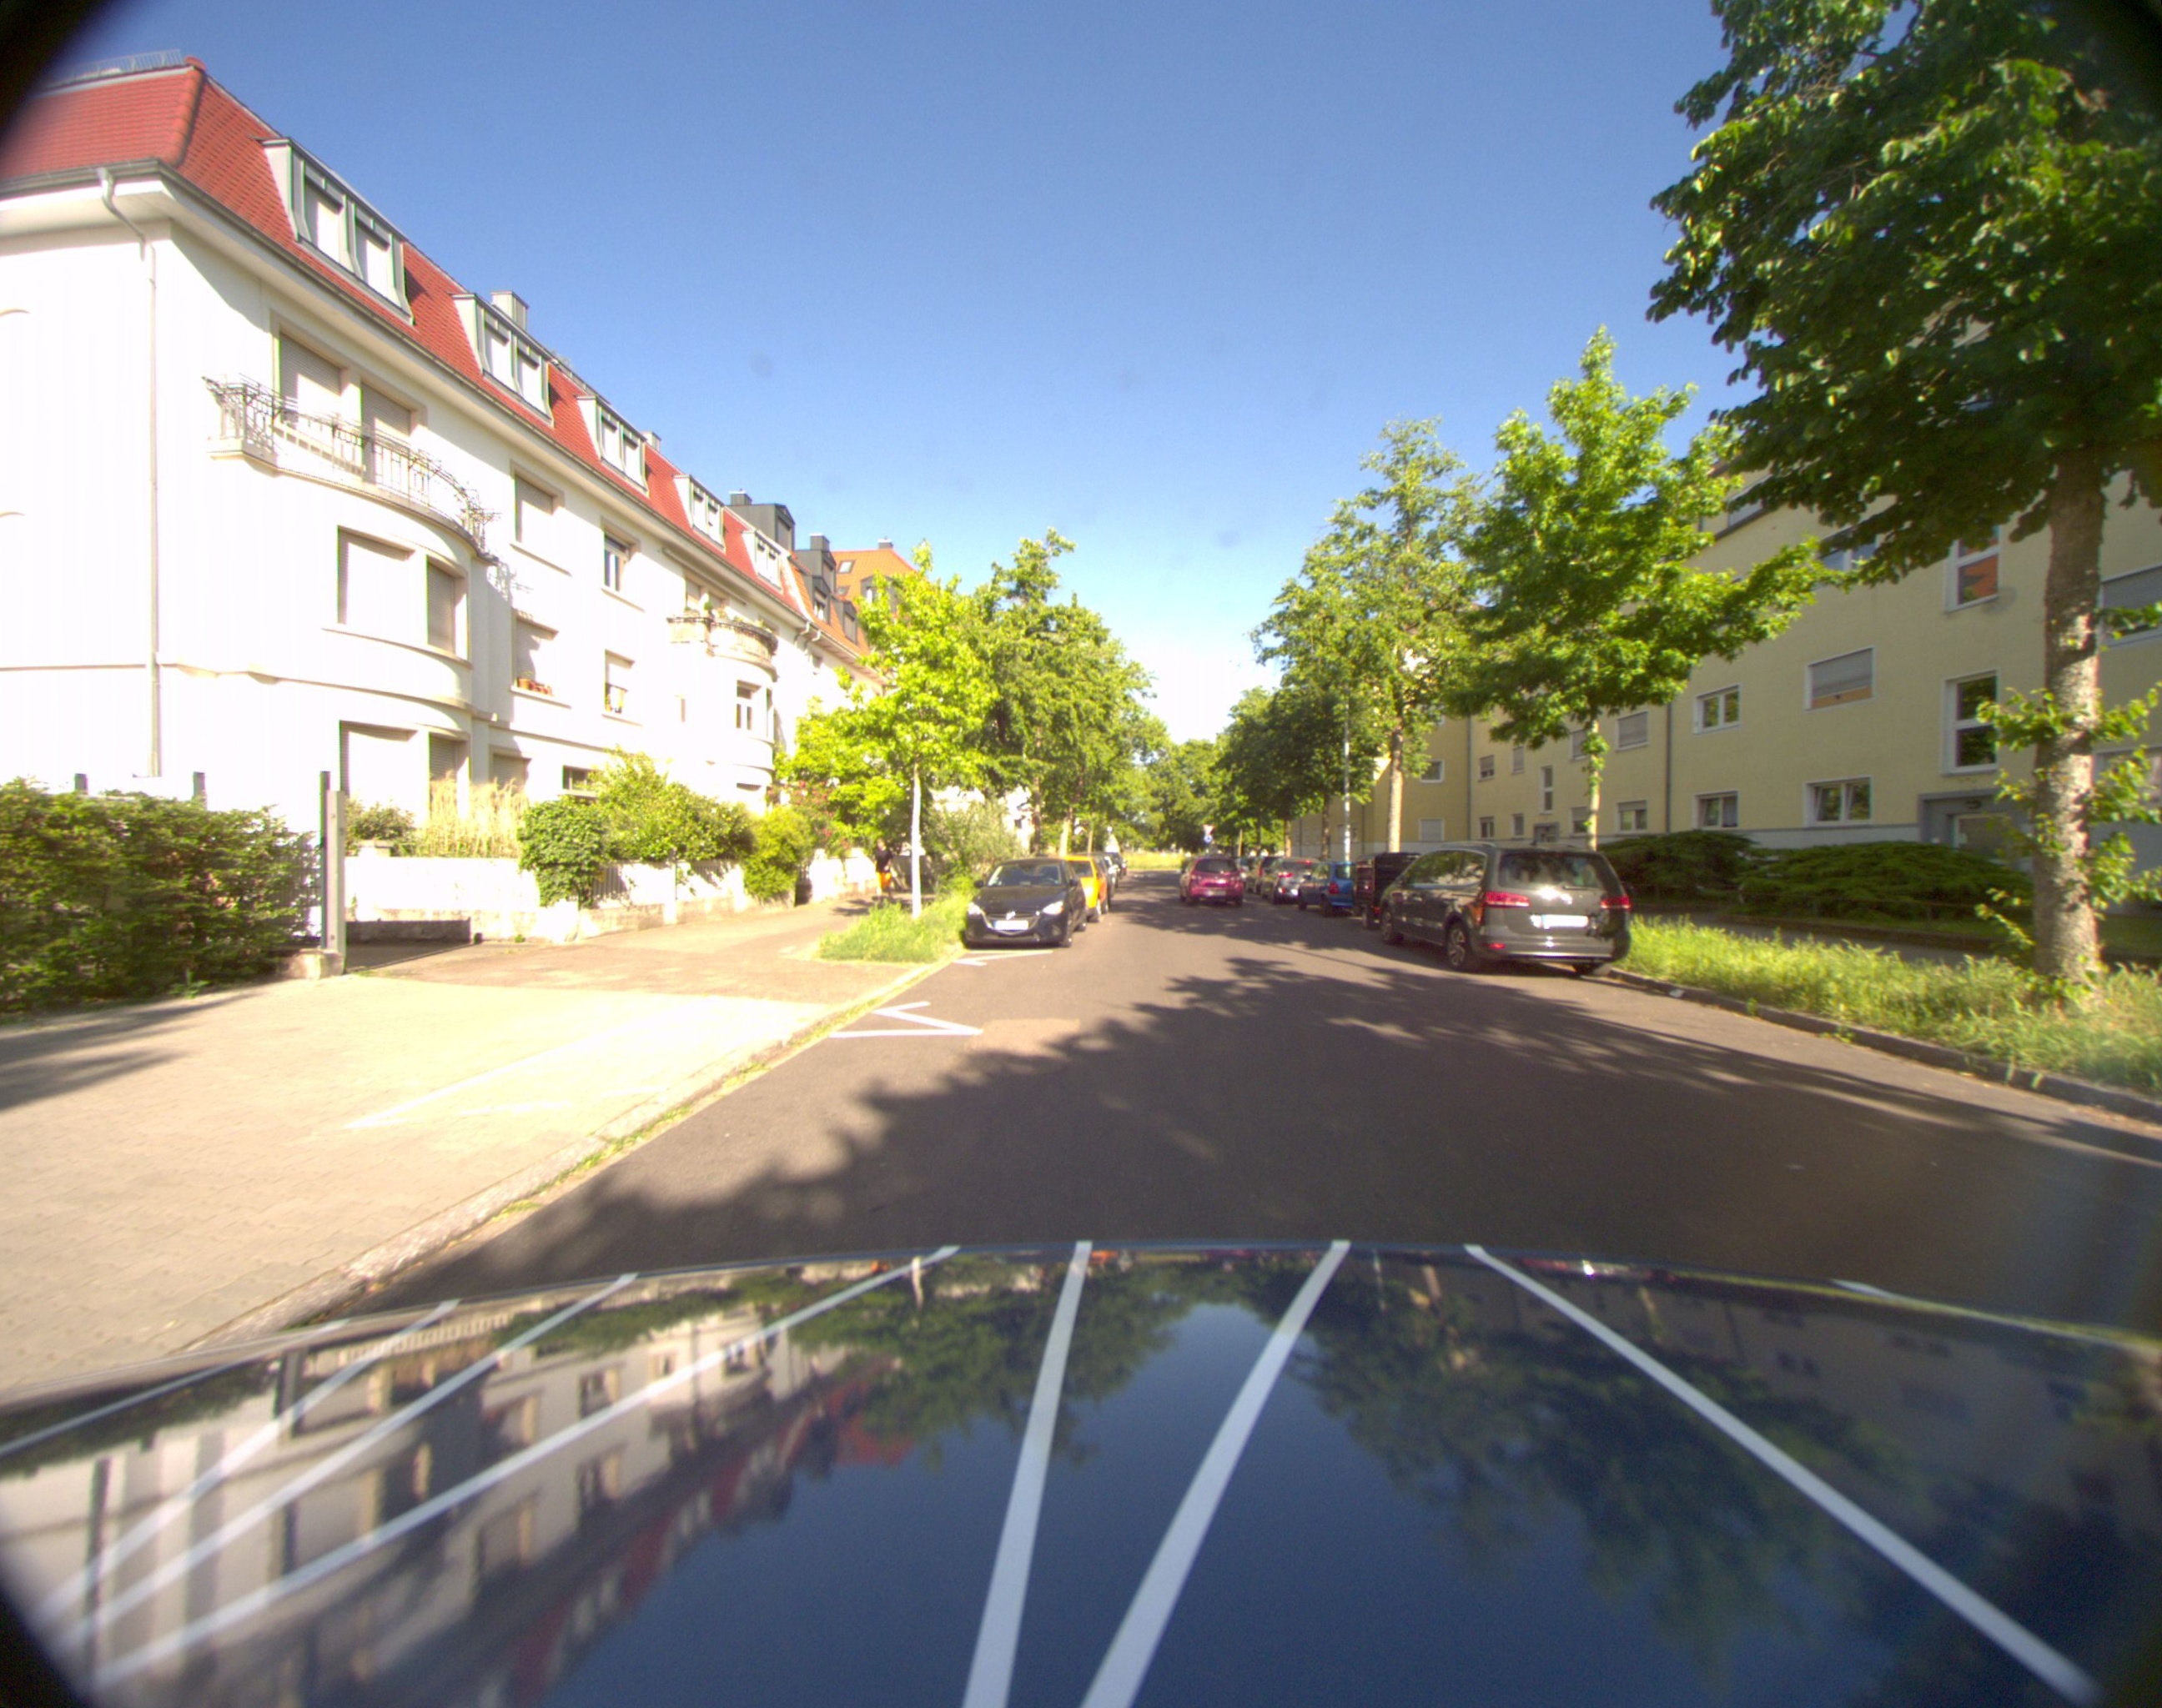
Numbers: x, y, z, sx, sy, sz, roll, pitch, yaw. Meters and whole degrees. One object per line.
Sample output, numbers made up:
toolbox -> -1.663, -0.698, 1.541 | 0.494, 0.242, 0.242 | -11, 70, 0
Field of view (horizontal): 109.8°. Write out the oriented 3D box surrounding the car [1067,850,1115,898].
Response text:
car -> 0.394, 0.687, 28.419 | 1.652, 1.646, 3.847 | 0, 0, 1

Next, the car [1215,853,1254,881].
car -> 8.374, 0.675, 41.778 | 1.668, 1.450, 3.934 | 0, 0, 5

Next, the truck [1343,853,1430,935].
truck -> 6.334, 0.779, 15.950 | 1.086, 1.568, 2.433 | 0, 0, 7

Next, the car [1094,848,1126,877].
car -> 1.824, 0.512, 46.869 | 1.784, 1.688, 4.299 | 0, 0, 4

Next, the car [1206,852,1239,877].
car -> 8.637, 0.615, 46.673 | 1.668, 1.477, 3.257 | 0, 0, 5

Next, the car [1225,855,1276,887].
car -> 8.032, 0.748, 36.310 | 1.749, 1.361, 4.675 | 1, 0, 5

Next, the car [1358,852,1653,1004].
car -> 5.843, 0.854, 11.343 | 1.853, 1.671, 4.978 | 3, 1, 4

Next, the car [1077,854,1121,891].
car -> 0.861, 0.755, 33.043 | 1.633, 1.417, 4.369 | 1, 0, 5

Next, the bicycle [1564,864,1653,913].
bicycle -> 12.812, 0.811, 18.530 | 0.487, 1.075, 1.842 | -3, 2, -19

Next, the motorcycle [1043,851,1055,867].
motorcycle -> -2.631, 0.405, 63.091 | 0.973, 1.321, 1.852 | 0, 1, -1

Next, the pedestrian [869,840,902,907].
pedestrian -> -5.298, 0.514, 20.626 | 0.623, 1.764, 0.800 | 1, 1, 5

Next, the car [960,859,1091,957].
car -> -0.831, 0.843, 13.719 | 1.704, 1.440, 4.083 | 1, 0, 5

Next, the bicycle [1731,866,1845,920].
bicycle -> 14.587, 0.804, 15.700 | 1.844, 1.075, 0.486 | 0, 1, 1

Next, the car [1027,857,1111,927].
car -> -0.168, 0.817, 18.247 | 1.640, 1.446, 4.101 | 0, 0, 4

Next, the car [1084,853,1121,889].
car -> 1.121, 0.790, 37.635 | 1.688, 1.579, 4.536 | -2, 0, 3

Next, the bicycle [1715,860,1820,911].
bicycle -> 15.789, 0.721, 17.504 | 1.843, 1.075, 0.487 | -2, 2, 8

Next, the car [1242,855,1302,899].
car -> 7.552, 0.854, 30.391 | 1.623, 1.507, 4.270 | 2, 1, 5

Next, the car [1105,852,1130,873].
car -> 2.532, 0.577, 53.939 | 1.615, 1.401, 4.351 | 0, 0, 1

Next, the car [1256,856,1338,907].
car -> 6.914, 0.813, 24.806 | 1.795, 1.436, 4.690 | 2, 0, 6

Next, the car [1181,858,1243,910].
car -> 3.875, 0.851, 22.890 | 1.509, 1.418, 3.178 | 1, 0, 4

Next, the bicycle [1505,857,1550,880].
bicycle -> 18.749, 0.607, 31.926 | 1.637, 0.925, 0.481 | 0, 1, -4

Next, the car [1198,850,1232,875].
car -> 8.985, 0.545, 51.244 | 1.695, 1.556, 4.736 | 0, 0, 3

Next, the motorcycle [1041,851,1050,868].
motorcycle -> -2.863, 0.432, 61.233 | 0.658, 1.272, 1.800 | 2, 1, -2

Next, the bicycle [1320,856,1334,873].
bicycle -> 15.367, 0.671, 47.489 | 0.537, 1.021, 1.749 | 0, 0, 6

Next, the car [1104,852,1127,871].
car -> 2.716, 0.523, 58.778 | 1.656, 1.394, 4.136 | 0, 0, 4

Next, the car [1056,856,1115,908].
car -> 0.219, 0.795, 23.297 | 1.653, 1.420, 3.613 | 1, 0, 3

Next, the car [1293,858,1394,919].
car -> 6.767, 0.838, 19.956 | 1.524, 1.387, 3.727 | 0, 0, 3

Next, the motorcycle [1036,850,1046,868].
motorcycle -> -3.088, 0.401, 58.881 | 0.540, 1.353, 2.090 | 0, 1, 4
